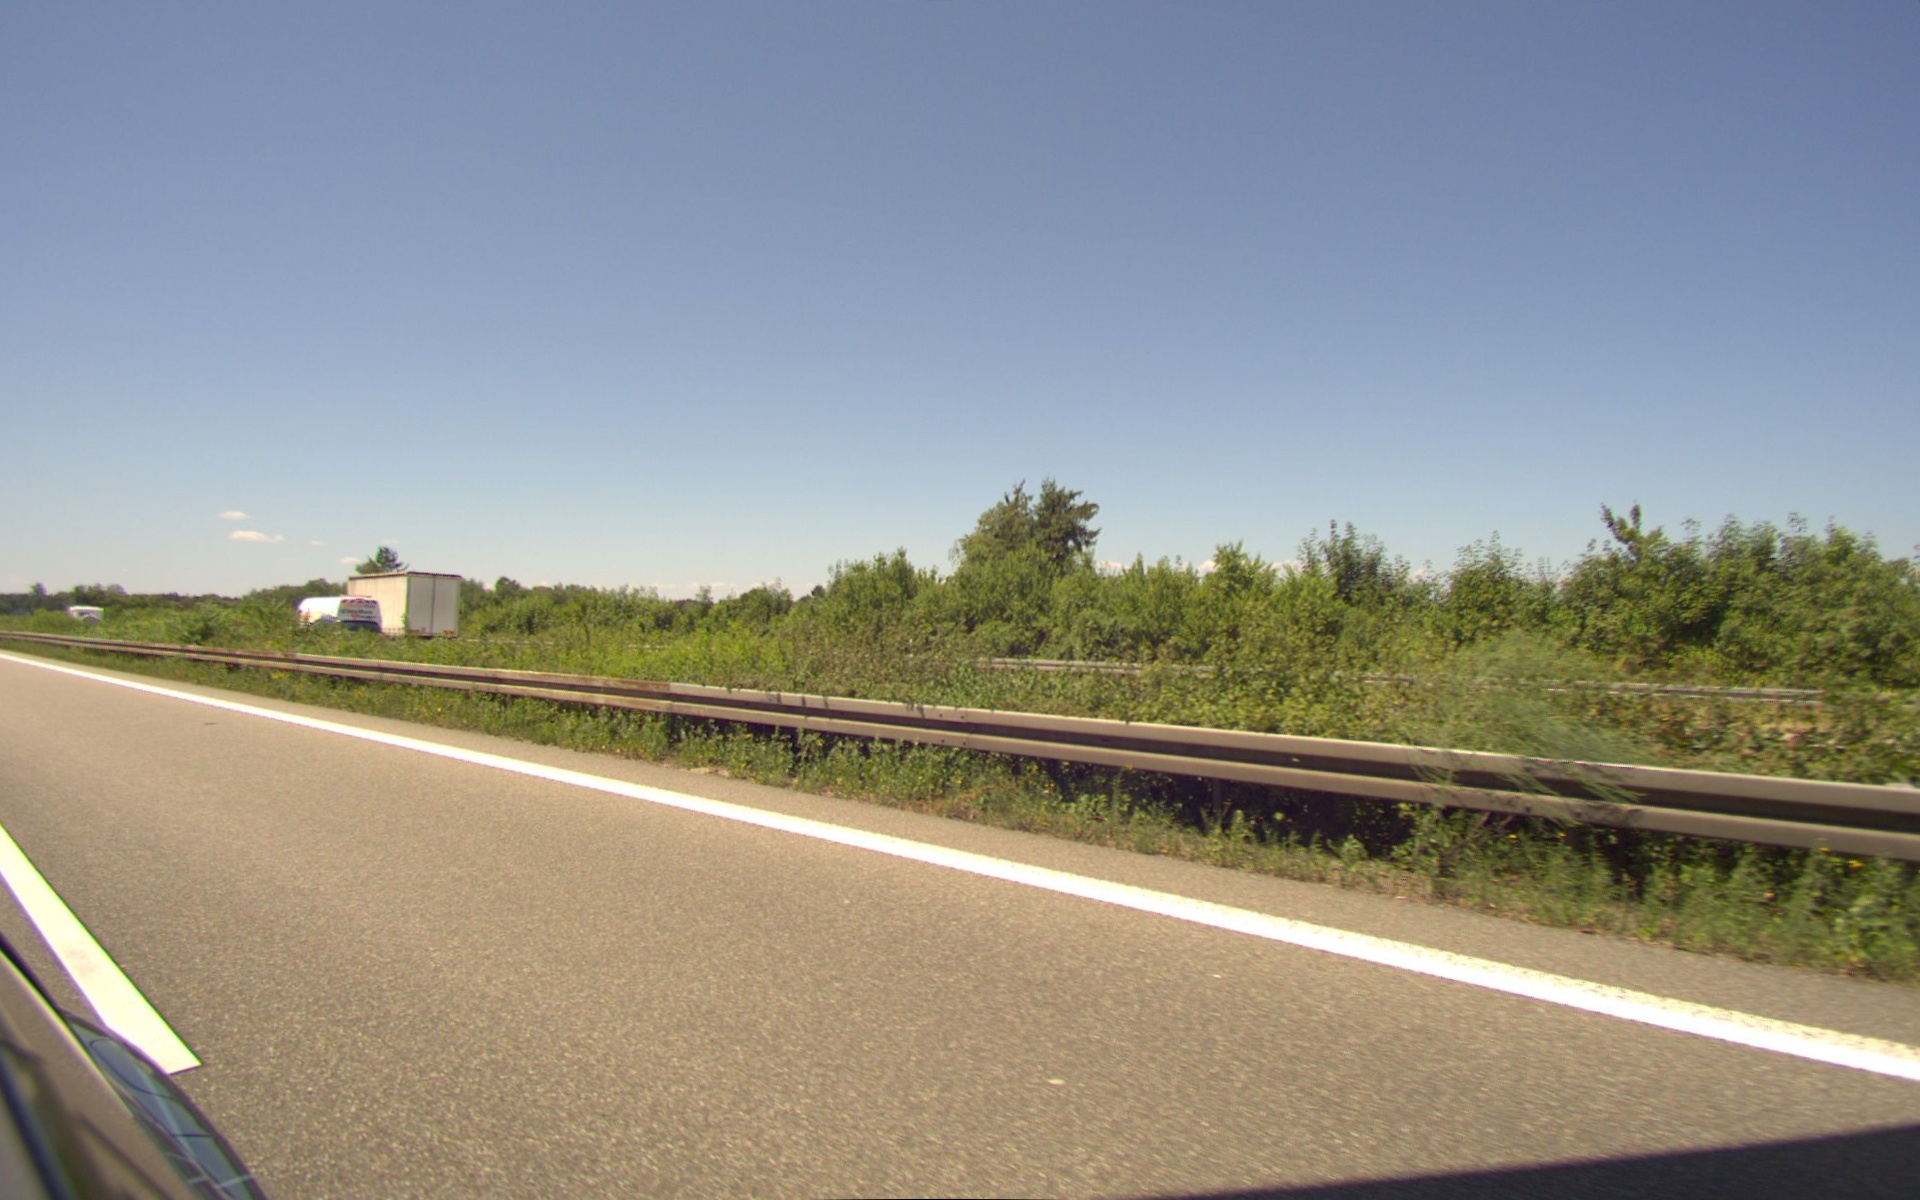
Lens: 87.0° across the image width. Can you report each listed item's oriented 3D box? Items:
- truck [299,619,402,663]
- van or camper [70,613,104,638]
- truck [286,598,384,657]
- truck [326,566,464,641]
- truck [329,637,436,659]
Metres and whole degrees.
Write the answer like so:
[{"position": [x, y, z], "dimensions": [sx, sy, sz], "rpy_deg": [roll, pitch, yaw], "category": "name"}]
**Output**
[{"position": [-19.869, 1.298, 32.927], "dimensions": [4.191, 1.315, 1.753], "rpy_deg": [-1, 0, 42], "category": "truck"}, {"position": [-95.989, 2.771, 111.207], "dimensions": [6.296, 2.564, 1.973], "rpy_deg": [-1, 0, 41], "category": "van or camper"}, {"position": [-27.563, 1.190, 44.540], "dimensions": [6.418, 2.417, 1.972], "rpy_deg": [-1, 0, 42], "category": "truck"}, {"position": [-29.610, 0.230, 52.724], "dimensions": [10.731, 3.524, 2.847], "rpy_deg": [-1, 0, 42], "category": "truck"}, {"position": [-23.215, 1.892, 40.572], "dimensions": [5.218, 0.691, 2.245], "rpy_deg": [-1, 0, 42], "category": "truck"}]
